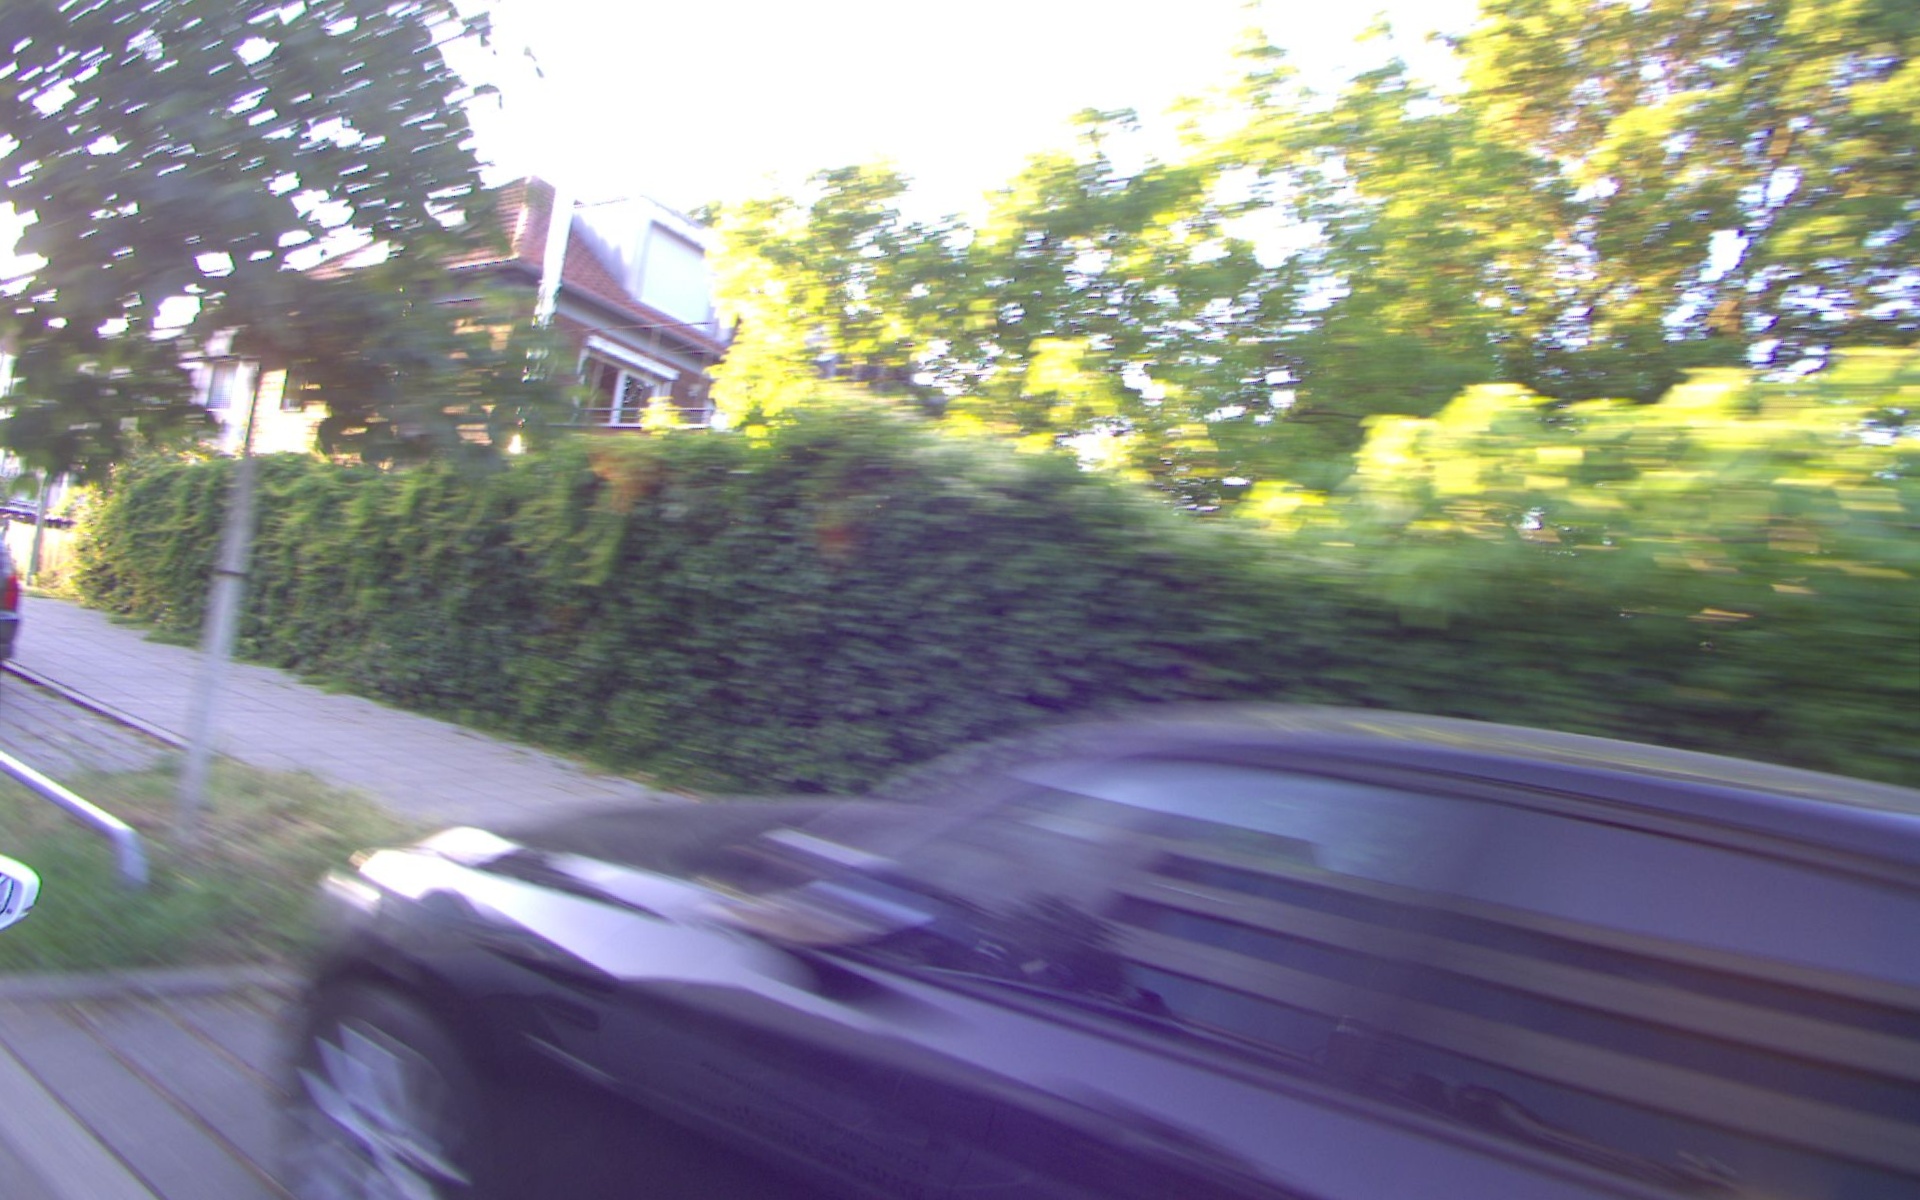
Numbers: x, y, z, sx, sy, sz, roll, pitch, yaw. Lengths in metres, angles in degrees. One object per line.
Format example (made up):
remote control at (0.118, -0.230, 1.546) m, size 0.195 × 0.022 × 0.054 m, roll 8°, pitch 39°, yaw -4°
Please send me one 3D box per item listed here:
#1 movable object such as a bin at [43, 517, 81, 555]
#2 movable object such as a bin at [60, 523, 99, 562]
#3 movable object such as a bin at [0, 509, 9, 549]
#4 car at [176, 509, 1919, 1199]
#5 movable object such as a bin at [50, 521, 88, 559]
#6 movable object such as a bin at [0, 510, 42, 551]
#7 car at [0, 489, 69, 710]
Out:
movable object such as a bin at (-26.693, -1.901, 29.889) m, size 0.677 × 0.969 × 0.579 m, roll 8°, pitch -2°, yaw 33°
movable object such as a bin at (-25.273, -1.643, 28.886) m, size 0.677 × 0.969 × 0.579 m, roll 8°, pitch -2°, yaw 33°
movable object such as a bin at (-25.699, -1.928, 26.578) m, size 0.677 × 1.022 × 0.579 m, roll 8°, pitch -1°, yaw 33°
car at (0.314, 0.833, 2.078) m, size 4.125 × 1.526 × 1.696 m, roll 7°, pitch -2°, yaw 34°
movable object such as a bin at (-26.086, -1.758, 29.460) m, size 0.677 × 0.969 × 0.579 m, roll 8°, pitch -2°, yaw 33°
movable object such as a bin at (-25.553, -1.888, 27.383) m, size 0.677 × 0.969 × 0.579 m, roll 8°, pitch -2°, yaw 33°
car at (-9.137, -0.287, 8.209) m, size 4.526 × 1.598 × 1.726 m, roll 7°, pitch -2°, yaw 36°
